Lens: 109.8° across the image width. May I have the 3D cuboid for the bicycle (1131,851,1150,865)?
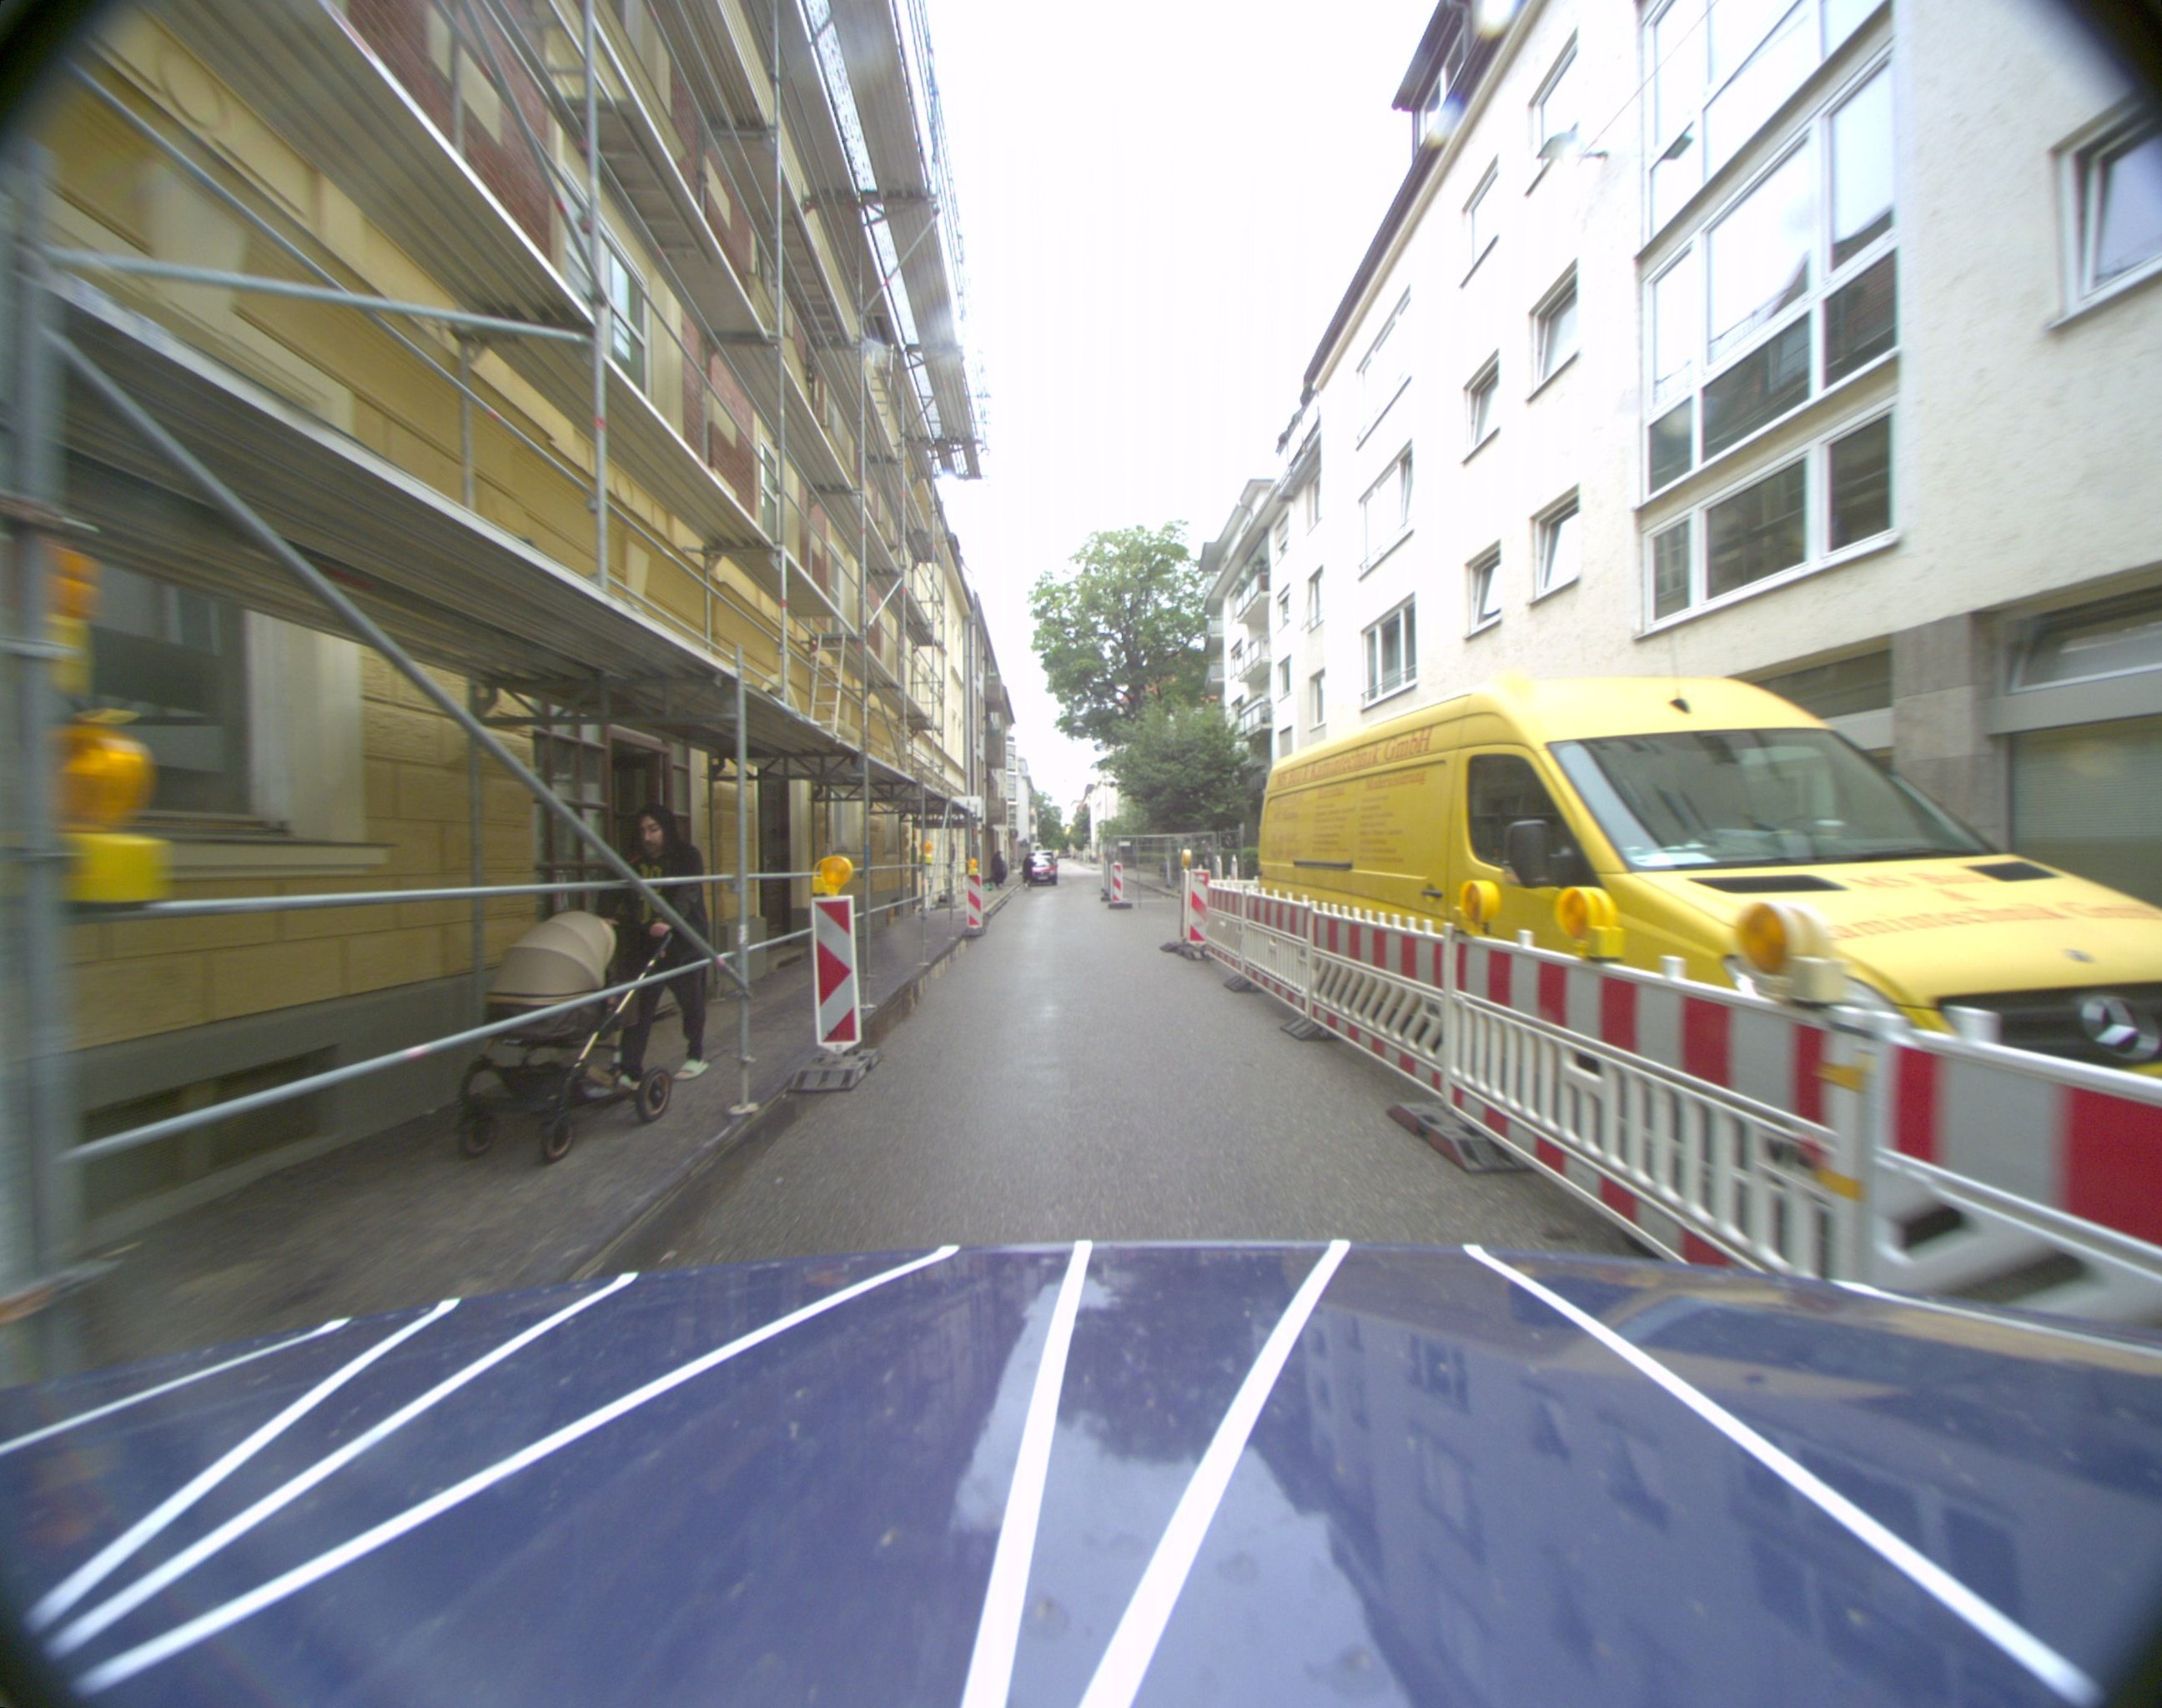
[{"bbox_3d":[5.769,0.381,73.974,1.812,1.253,0.432,-1,1,-3],"label":"bicycle"}]

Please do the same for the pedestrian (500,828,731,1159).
[{"bbox_3d":[-2.704,0.746,4.540,0.731,1.742,0.988,3,1,-3],"label":"pedestrian"}]

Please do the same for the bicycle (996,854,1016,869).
[{"bbox_3d":[-7.087,0.677,71.656,1.808,1.315,0.586,-1,2,-27],"label":"bicycle"}]

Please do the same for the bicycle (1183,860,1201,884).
[{"bbox_3d":[5.006,0.787,34.361,0.445,0.973,1.853,-4,1,0],"label":"bicycle"}]

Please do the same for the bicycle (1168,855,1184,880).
[{"bbox_3d":[4.780,0.656,38.380,0.490,1.145,1.698,-4,1,0],"label":"bicycle"}]

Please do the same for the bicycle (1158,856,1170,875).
[{"bbox_3d":[4.799,0.646,43.840,0.347,1.065,1.780,-5,0,-2],"label":"bicycle"}]

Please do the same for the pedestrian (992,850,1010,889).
[{"bbox_3d":[-3.509,0.672,33.261,0.660,1.676,0.586,1,1,4],"label":"pedestrian"}]

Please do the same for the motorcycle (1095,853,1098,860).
[{"bbox_3d":[2.285,0.336,115.480,0.324,0.968,1.960,-2,0,-2],"label":"motorcycle"}]

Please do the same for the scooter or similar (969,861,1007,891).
[{"bbox_3d":[-3.800,0.913,31.089,0.493,1.176,1.611,2,0,39],"label":"scooter or similar"}]

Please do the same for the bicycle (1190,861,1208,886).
[{"bbox_3d":[5.038,0.806,32.496,0.445,0.973,1.815,-4,1,0],"label":"bicycle"}]

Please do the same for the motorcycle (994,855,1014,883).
[{"bbox_3d":[-4.100,0.789,40.758,0.807,1.415,1.932,4,0,-1],"label":"motorcycle"}]

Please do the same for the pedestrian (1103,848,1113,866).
[{"bbox_3d":[2.614,0.315,73.870,0.722,1.718,0.841,-5,1,-2],"label":"pedestrian"}]

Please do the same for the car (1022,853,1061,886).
[{"bbox_3d":[-2.023,0.779,40.382,1.776,1.515,4.066,-3,0,0],"label":"car"}]

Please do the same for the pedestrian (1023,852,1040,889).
[{"bbox_3d":[-2.287,0.750,34.979,0.660,1.676,0.546,-2,0,4],"label":"pedestrian"}]

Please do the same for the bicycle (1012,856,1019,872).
[{"bbox_3d":[-5.185,0.771,60.348,0.411,1.207,1.818,1,2,-2],"label":"bicycle"}]

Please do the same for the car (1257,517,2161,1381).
[{"bbox_3d":[3.233,0.272,5.663,1.999,2.564,6.734,-1,0,-3],"label":"car"}]

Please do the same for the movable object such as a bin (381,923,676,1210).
[{"bbox_3d":[-2.670,0.978,3.809,0.731,1.134,0.988,3,0,-3],"label":"movable object such as a bin"}]

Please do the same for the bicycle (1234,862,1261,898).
[{"bbox_3d":[5.366,0.812,24.563,0.378,1.057,1.597,-7,0,-1],"label":"bicycle"}]
